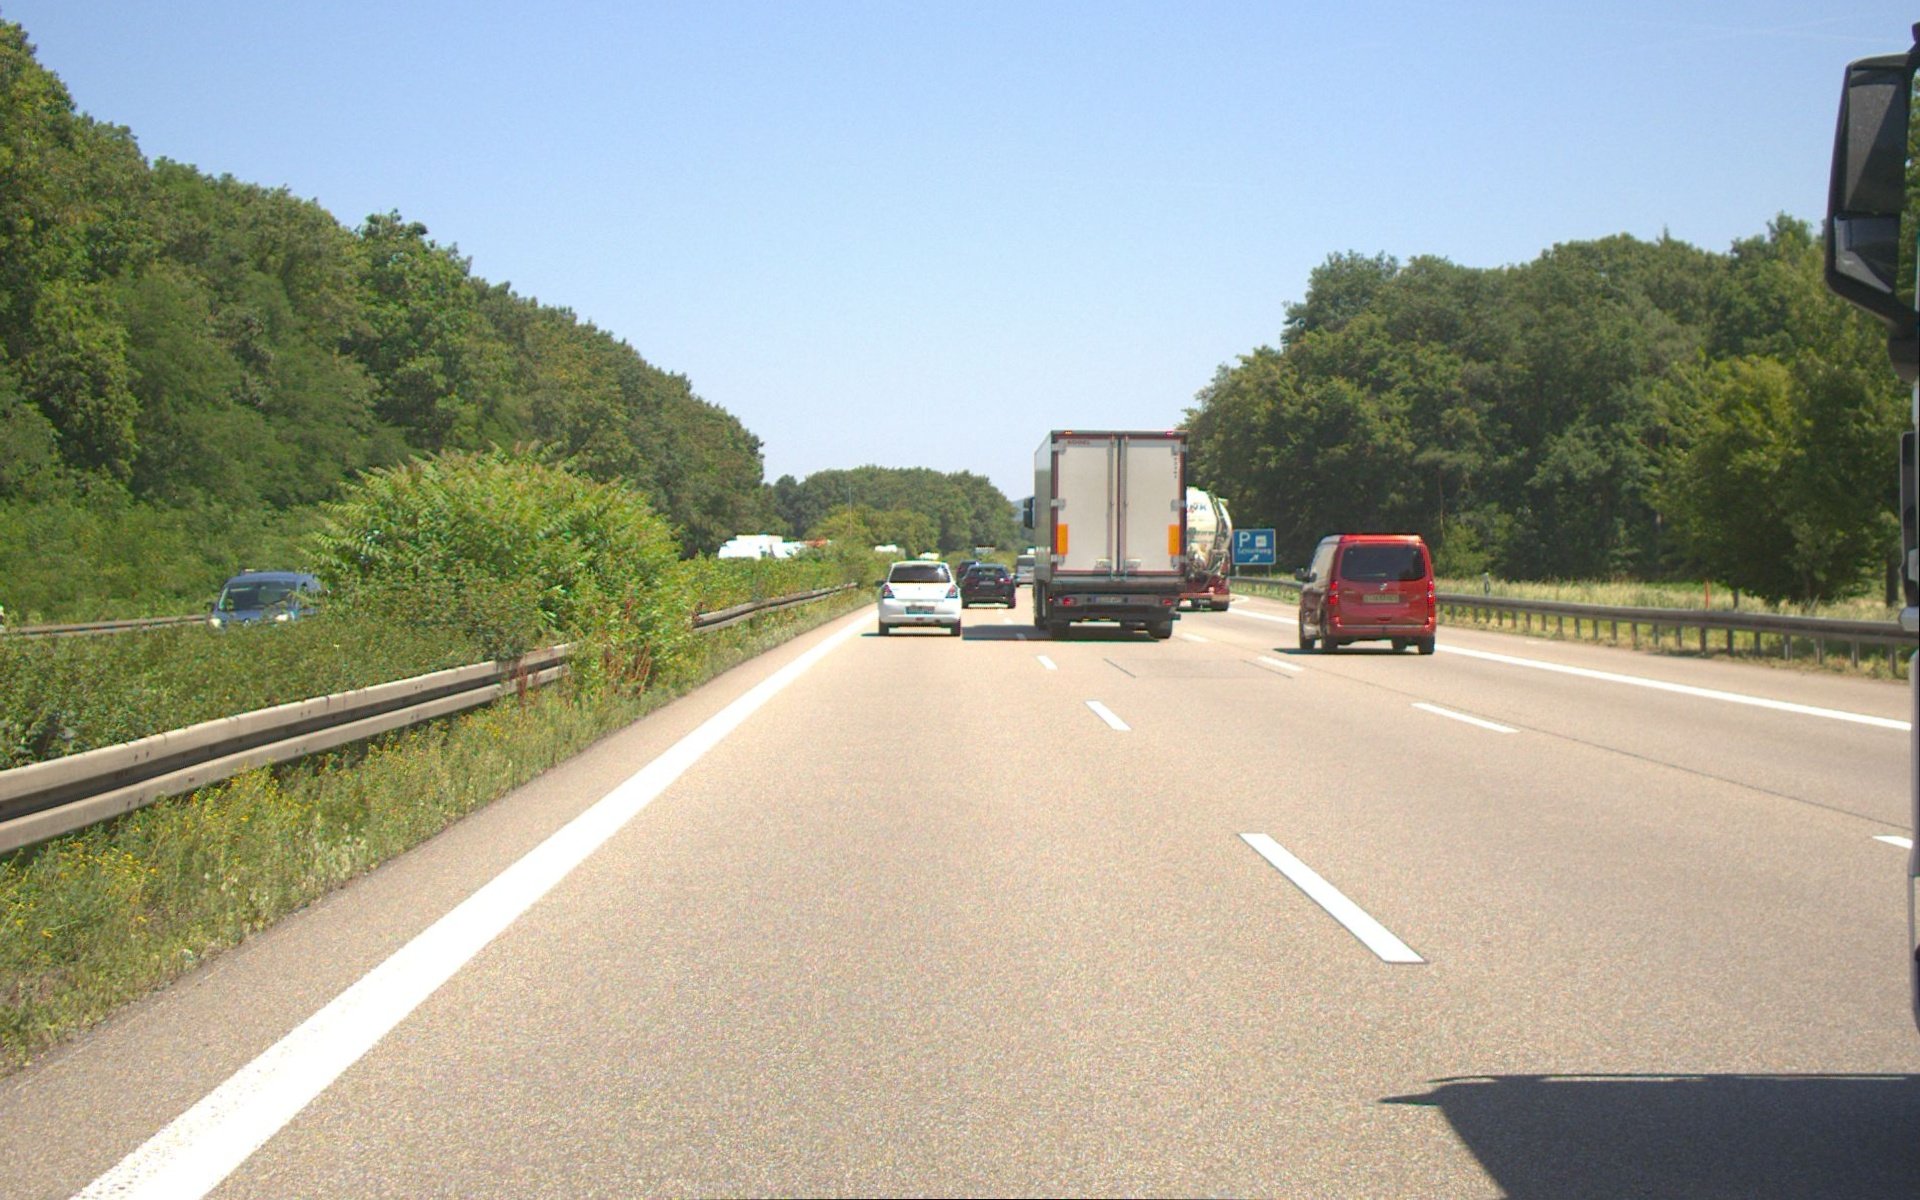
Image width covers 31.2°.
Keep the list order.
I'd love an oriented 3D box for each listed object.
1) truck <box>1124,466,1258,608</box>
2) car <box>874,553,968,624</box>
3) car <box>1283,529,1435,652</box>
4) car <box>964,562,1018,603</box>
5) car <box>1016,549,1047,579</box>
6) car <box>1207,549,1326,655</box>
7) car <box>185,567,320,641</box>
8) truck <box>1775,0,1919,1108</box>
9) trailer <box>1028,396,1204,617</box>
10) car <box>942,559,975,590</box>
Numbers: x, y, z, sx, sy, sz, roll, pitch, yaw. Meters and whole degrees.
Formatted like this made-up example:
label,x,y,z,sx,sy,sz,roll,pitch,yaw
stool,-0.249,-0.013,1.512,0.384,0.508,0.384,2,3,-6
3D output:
label,x,y,z,sx,sy,sz,roll,pitch,yaw
truck,7.326,-2.010,110.432,3.223,4.330,10.808,0,1,-2
car,-0.824,-0.258,70.318,1.811,1.400,3.318,0,1,-2
car,6.779,-0.195,58.946,1.855,1.996,5.522,1,1,-1
car,0.985,-0.577,111.989,1.668,1.285,4.000,0,1,-1
car,4.197,-2.126,202.859,1.668,1.759,4.000,0,1,-1
car,5.961,0.014,67.237,1.993,2.007,4.000,0,1,0
car,-13.529,0.051,65.943,1.794,1.334,4.000,0,1,-1
truck,3.858,-0.784,7.760,2.790,4.190,5.000,0,1,-1
trailer,3.065,-1.864,70.825,3.223,4.129,12.351,0,1,1
car,-0.095,-1.655,222.612,2.107,2.007,4.000,1,1,-1
